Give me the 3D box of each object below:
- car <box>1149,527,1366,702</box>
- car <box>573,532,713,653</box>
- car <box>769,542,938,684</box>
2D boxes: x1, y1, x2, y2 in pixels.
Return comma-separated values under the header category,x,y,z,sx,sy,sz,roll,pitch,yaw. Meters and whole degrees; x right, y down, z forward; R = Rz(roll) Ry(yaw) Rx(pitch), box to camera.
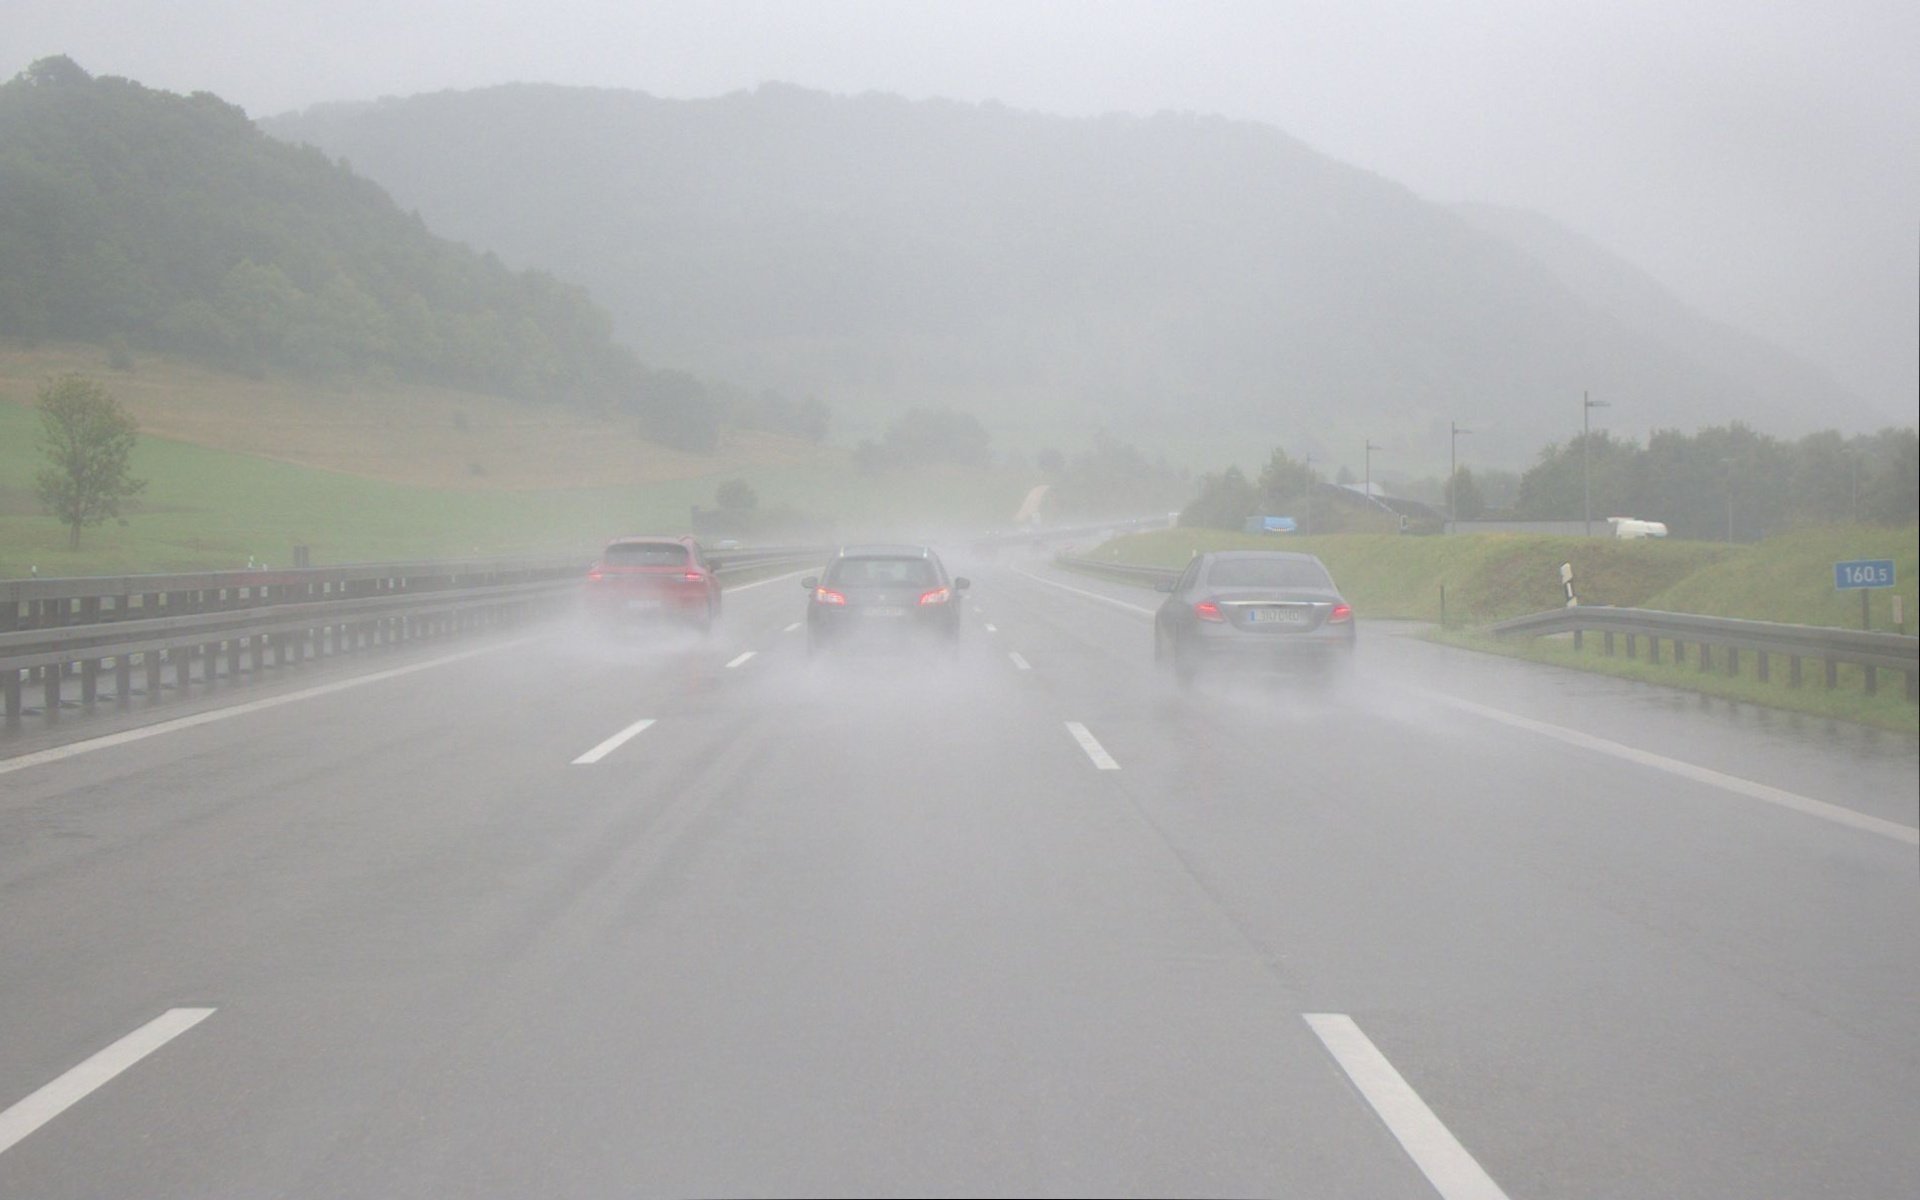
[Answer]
category,x,y,z,sx,sy,sz,roll,pitch,yaw
car,3.110,0.116,36.684,1.971,1.754,4.000,0,1,0
car,-4.924,-0.155,53.798,1.884,1.809,4.000,0,1,-1
car,-1.215,0.117,40.921,1.859,1.584,4.000,1,1,0
